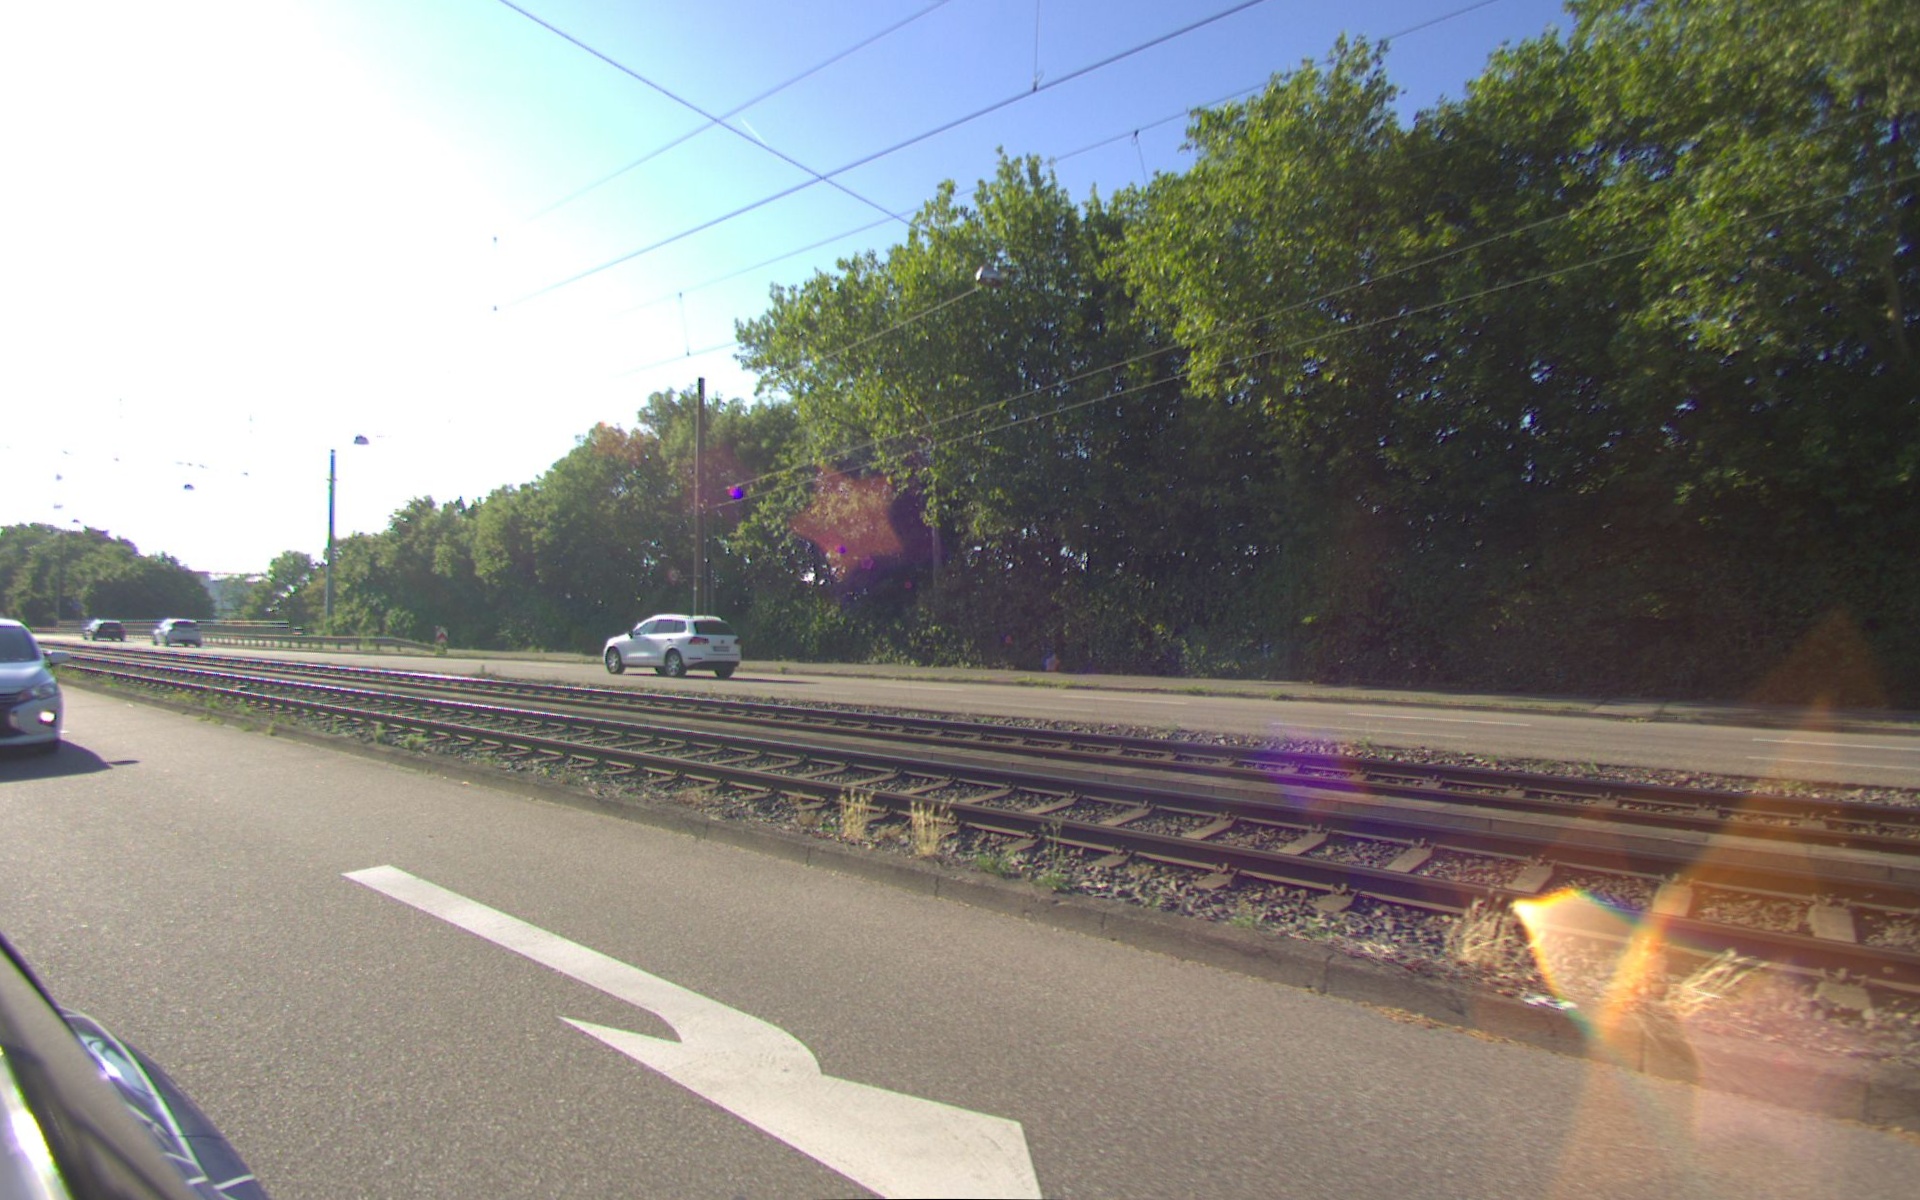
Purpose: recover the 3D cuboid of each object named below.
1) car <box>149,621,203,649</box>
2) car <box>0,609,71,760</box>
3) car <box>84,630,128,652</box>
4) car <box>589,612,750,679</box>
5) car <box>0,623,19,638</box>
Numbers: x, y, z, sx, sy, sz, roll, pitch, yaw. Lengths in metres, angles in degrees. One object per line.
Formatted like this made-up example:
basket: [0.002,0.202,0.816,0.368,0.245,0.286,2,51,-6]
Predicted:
car: [-47.198,2.109,60.878,4.187,1.568,1.674,-1,-3,40]
car: [-11.331,0.870,11.248,3.860,1.523,1.687,-1,0,41]
car: [-61.000,2.935,72.274,4.499,1.443,1.640,-1,-3,41]
car: [-8.348,1.267,28.875,4.925,1.747,1.828,0,-4,38]
car: [-98.038,3.132,103.670,4.872,1.425,1.737,0,-4,39]
